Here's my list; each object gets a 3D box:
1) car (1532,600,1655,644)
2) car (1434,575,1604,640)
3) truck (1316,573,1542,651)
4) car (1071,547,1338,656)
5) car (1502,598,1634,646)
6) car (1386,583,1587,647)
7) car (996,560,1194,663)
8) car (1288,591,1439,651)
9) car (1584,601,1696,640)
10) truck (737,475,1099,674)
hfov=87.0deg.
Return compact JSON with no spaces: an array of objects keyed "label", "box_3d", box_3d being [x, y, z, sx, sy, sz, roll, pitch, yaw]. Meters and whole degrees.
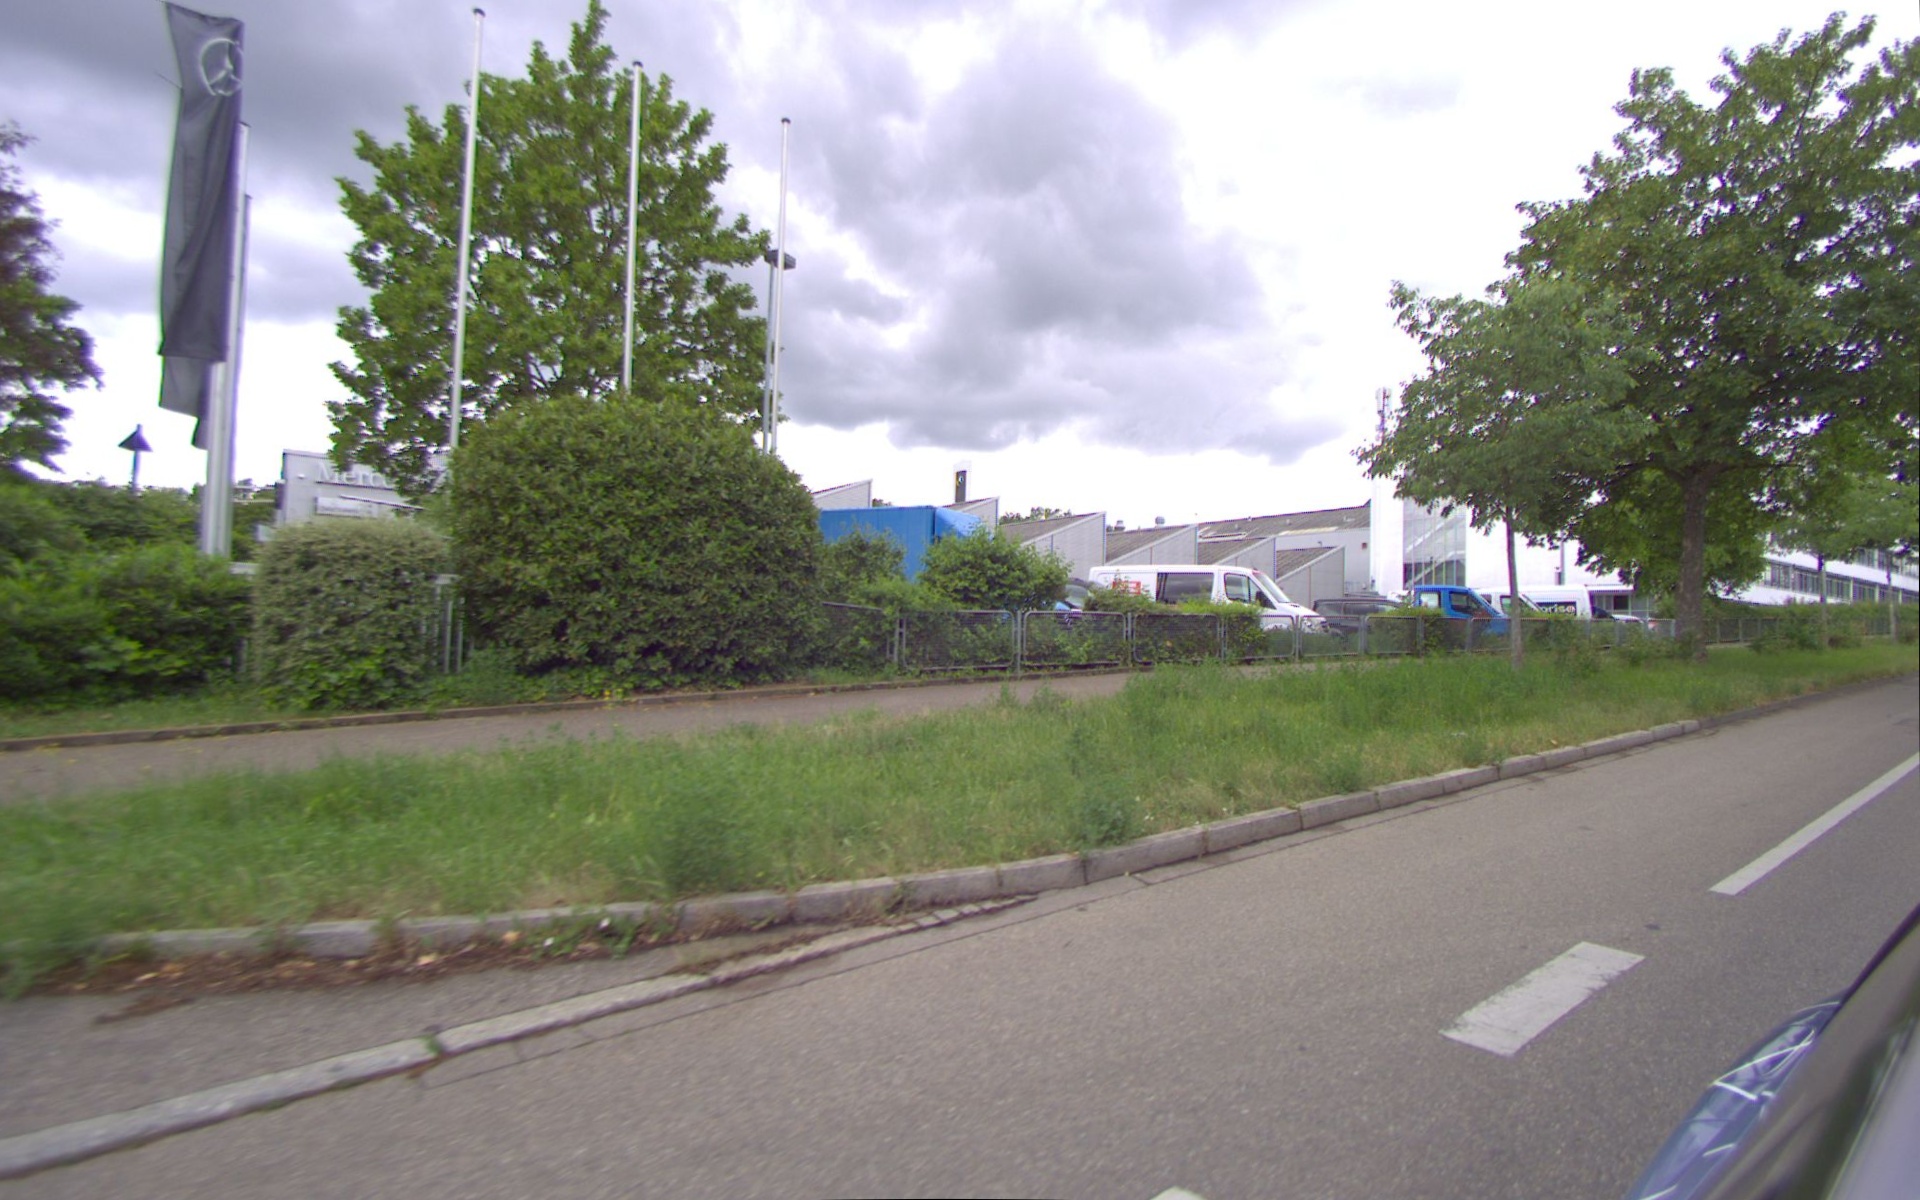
[{"label":"car","box_3d":[30.502,1.063,48.870,4.507,2.061,2.063,-1,-1,13]},{"label":"car","box_3d":[20.074,0.304,36.599,5.212,2.216,2.051,-1,-1,28]},{"label":"truck","box_3d":[14.512,0.400,31.665,6.187,2.241,2.227,-1,-1,25]},{"label":"car","box_3d":[5.921,0.088,24.775,5.977,2.397,2.338,-1,-1,30]},{"label":"car","box_3d":[26.705,0.976,44.641,4.507,2.061,2.063,-1,-1,13]},{"label":"car","box_3d":[17.451,0.522,33.741,5.779,1.982,2.049,-1,-1,31]},{"label":"car","box_3d":[2.975,0.263,22.299,3.956,2.102,1.909,-1,-1,24]},{"label":"car","box_3d":[11.758,0.600,29.553,3.958,1.650,1.982,-1,-1,25]},{"label":"car","box_3d":[36.715,1.100,54.776,4.507,2.061,2.063,-1,-1,13]},{"label":"truck","box_3d":[-0.958,-0.467,20.756,7.121,3.521,2.592,0,-1,29]}]
